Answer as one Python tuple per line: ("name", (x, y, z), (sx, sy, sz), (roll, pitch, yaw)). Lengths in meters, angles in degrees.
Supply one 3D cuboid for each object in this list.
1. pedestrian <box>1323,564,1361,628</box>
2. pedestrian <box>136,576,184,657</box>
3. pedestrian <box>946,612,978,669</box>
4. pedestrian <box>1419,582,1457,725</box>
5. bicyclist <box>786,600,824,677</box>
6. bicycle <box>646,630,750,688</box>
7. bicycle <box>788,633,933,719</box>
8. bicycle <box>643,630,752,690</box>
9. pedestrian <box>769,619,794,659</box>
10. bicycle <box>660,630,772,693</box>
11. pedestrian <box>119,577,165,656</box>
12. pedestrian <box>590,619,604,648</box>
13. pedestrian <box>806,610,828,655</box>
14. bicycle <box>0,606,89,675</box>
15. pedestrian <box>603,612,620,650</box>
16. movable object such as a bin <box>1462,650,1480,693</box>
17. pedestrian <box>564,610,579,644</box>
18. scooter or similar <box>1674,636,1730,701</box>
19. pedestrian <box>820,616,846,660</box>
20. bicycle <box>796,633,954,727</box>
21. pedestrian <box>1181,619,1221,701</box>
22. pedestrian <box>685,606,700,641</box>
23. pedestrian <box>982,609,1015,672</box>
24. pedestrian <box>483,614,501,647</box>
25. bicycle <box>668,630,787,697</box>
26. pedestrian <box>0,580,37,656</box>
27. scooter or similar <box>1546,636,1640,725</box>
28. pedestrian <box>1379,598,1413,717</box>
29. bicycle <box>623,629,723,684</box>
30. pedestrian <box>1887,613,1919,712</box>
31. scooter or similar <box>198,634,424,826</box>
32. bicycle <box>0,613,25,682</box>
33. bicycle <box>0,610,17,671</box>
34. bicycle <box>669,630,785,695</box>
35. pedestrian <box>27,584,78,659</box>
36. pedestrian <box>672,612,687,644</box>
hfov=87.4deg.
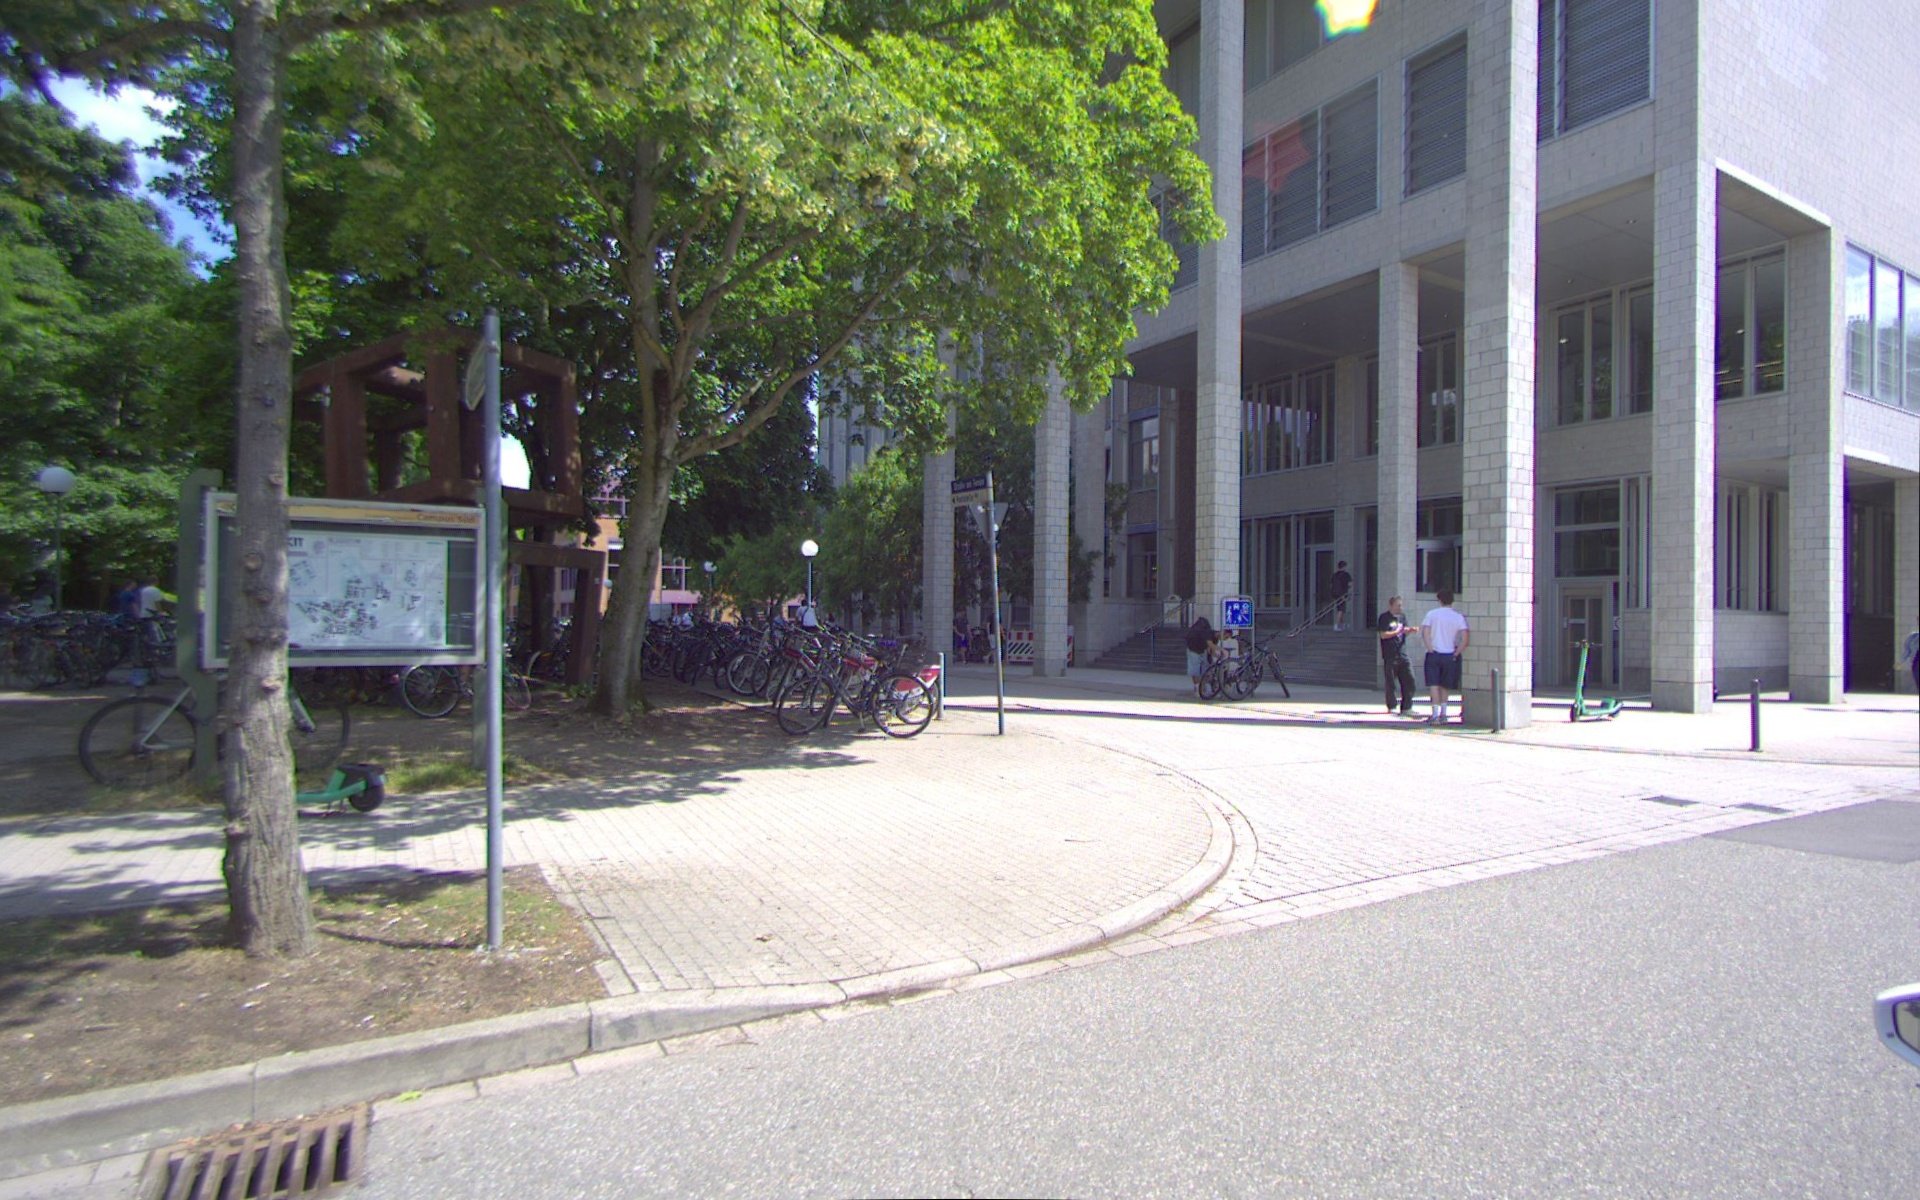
("pedestrian", (10.110, -0.099, 26.584), (0.683, 1.683, 0.633), (1, 0, -17))
("pedestrian", (-19.835, 0.404, 24.903), (0.635, 1.960, 0.696), (1, 0, 24))
("pedestrian", (0.052, 1.154, 28.998), (0.590, 1.614, 0.824), (1, -1, -28))
("pedestrian", (6.757, 0.741, 14.187), (0.406, 1.967, 0.662), (1, 0, 30))
("bicyclist", (-4.164, 1.020, 26.990), (0.863, 2.040, 0.846), (1, -1, -19))
("bicycle", (-5.270, 1.168, 20.240), (1.950, 1.101, 0.549), (1, 1, -31))
("bicycle", (-1.365, 1.030, 13.961), (1.950, 1.101, 0.549), (1, 1, -31))
("bicycle", (-5.069, 1.141, 19.450), (1.950, 1.101, 0.549), (1, 1, -31))
("pedestrian", (-7.121, 1.557, 40.037), (0.713, 1.561, 0.697), (1, -1, -39))
("bicycle", (-4.529, 1.126, 18.690), (1.950, 1.101, 0.549), (1, 1, -31))
("pedestrian", (-20.512, 0.411, 25.202), (0.610, 1.960, 0.681), (1, 0, 24))
("pedestrian", (-21.079, 1.944, 58.341), (0.595, 1.627, 0.627), (1, -1, -31))
("pedestrian", (-5.276, 1.196, 37.134), (0.633, 1.671, 0.597), (1, -1, -28))
("bicycle", (-17.304, 0.741, 18.873), (2.021, 1.147, 0.639), (3, 1, 25))
("pedestrian", (-18.181, 1.625, 52.413), (0.748, 1.979, 0.636), (1, -1, -28))
("movable object such as a bin", (11.025, 1.546, 21.670), (0.444, 0.906, 0.167), (1, -1, -36))
("pedestrian", (-22.720, 1.569, 58.790), (0.721, 1.992, 0.748), (1, 0, -28))
("scooter or similar", (14.892, 1.344, 20.193), (0.516, 1.226, 1.557), (0, -1, 22))
("pedestrian", (-4.837, 1.435, 38.235), (0.776, 1.625, 0.597), (1, -1, -28))
("bicycle", (-1.068, 0.991, 12.847), (1.950, 1.101, 0.549), (1, 1, -31))
("pedestrian", (4.255, 1.043, 17.719), (0.440, 1.402, 0.462), (-3, 1, -40))
("pedestrian", (-14.465, 1.243, 54.263), (0.633, 1.871, 0.658), (1, -1, -28))
("pedestrian", (1.099, 1.161, 28.996), (0.728, 1.814, 0.621), (1, -1, -29))
("pedestrian", (-23.595, 1.533, 50.671), (0.751, 1.617, 0.391), (1, -1, -32))
("bicycle", (-4.052, 1.095, 17.594), (1.950, 1.101, 0.549), (1, 1, -31))
("pedestrian", (-21.491, 0.408, 22.729), (0.545, 1.692, 0.703), (1, 0, 24))
("scooter or similar", (9.310, 1.158, 14.764), (1.529, 1.240, 0.453), (1, -1, -27))
("pedestrian", (6.733, 0.875, 15.508), (0.434, 1.799, 0.450), (0, 0, 29))
("bicycle", (-6.076, 1.188, 21.334), (1.950, 1.101, 0.549), (1, 1, -31))
("pedestrian", (16.998, 1.098, 17.881), (0.882, 1.724, 0.644), (1, -1, -41))
("scooter or similar", (-4.277, 0.837, 6.643), (1.301, 1.191, 0.340), (1, 0, 5))
("bicycle", (-17.589, 0.794, 17.858), (2.021, 1.147, 0.674), (3, 2, 25))
("bicycle", (-19.520, 0.751, 19.797), (2.021, 1.147, 0.639), (3, 1, 25))
("bicycle", (-4.205, 1.115, 18.174), (1.950, 1.101, 0.549), (1, 1, -31))
("pedestrian", (-20.720, 0.481, 22.947), (0.545, 1.692, 0.693), (1, 0, 24))
("pedestrian", (-15.060, 1.493, 53.929), (0.633, 1.733, 0.658), (1, -1, -28))
